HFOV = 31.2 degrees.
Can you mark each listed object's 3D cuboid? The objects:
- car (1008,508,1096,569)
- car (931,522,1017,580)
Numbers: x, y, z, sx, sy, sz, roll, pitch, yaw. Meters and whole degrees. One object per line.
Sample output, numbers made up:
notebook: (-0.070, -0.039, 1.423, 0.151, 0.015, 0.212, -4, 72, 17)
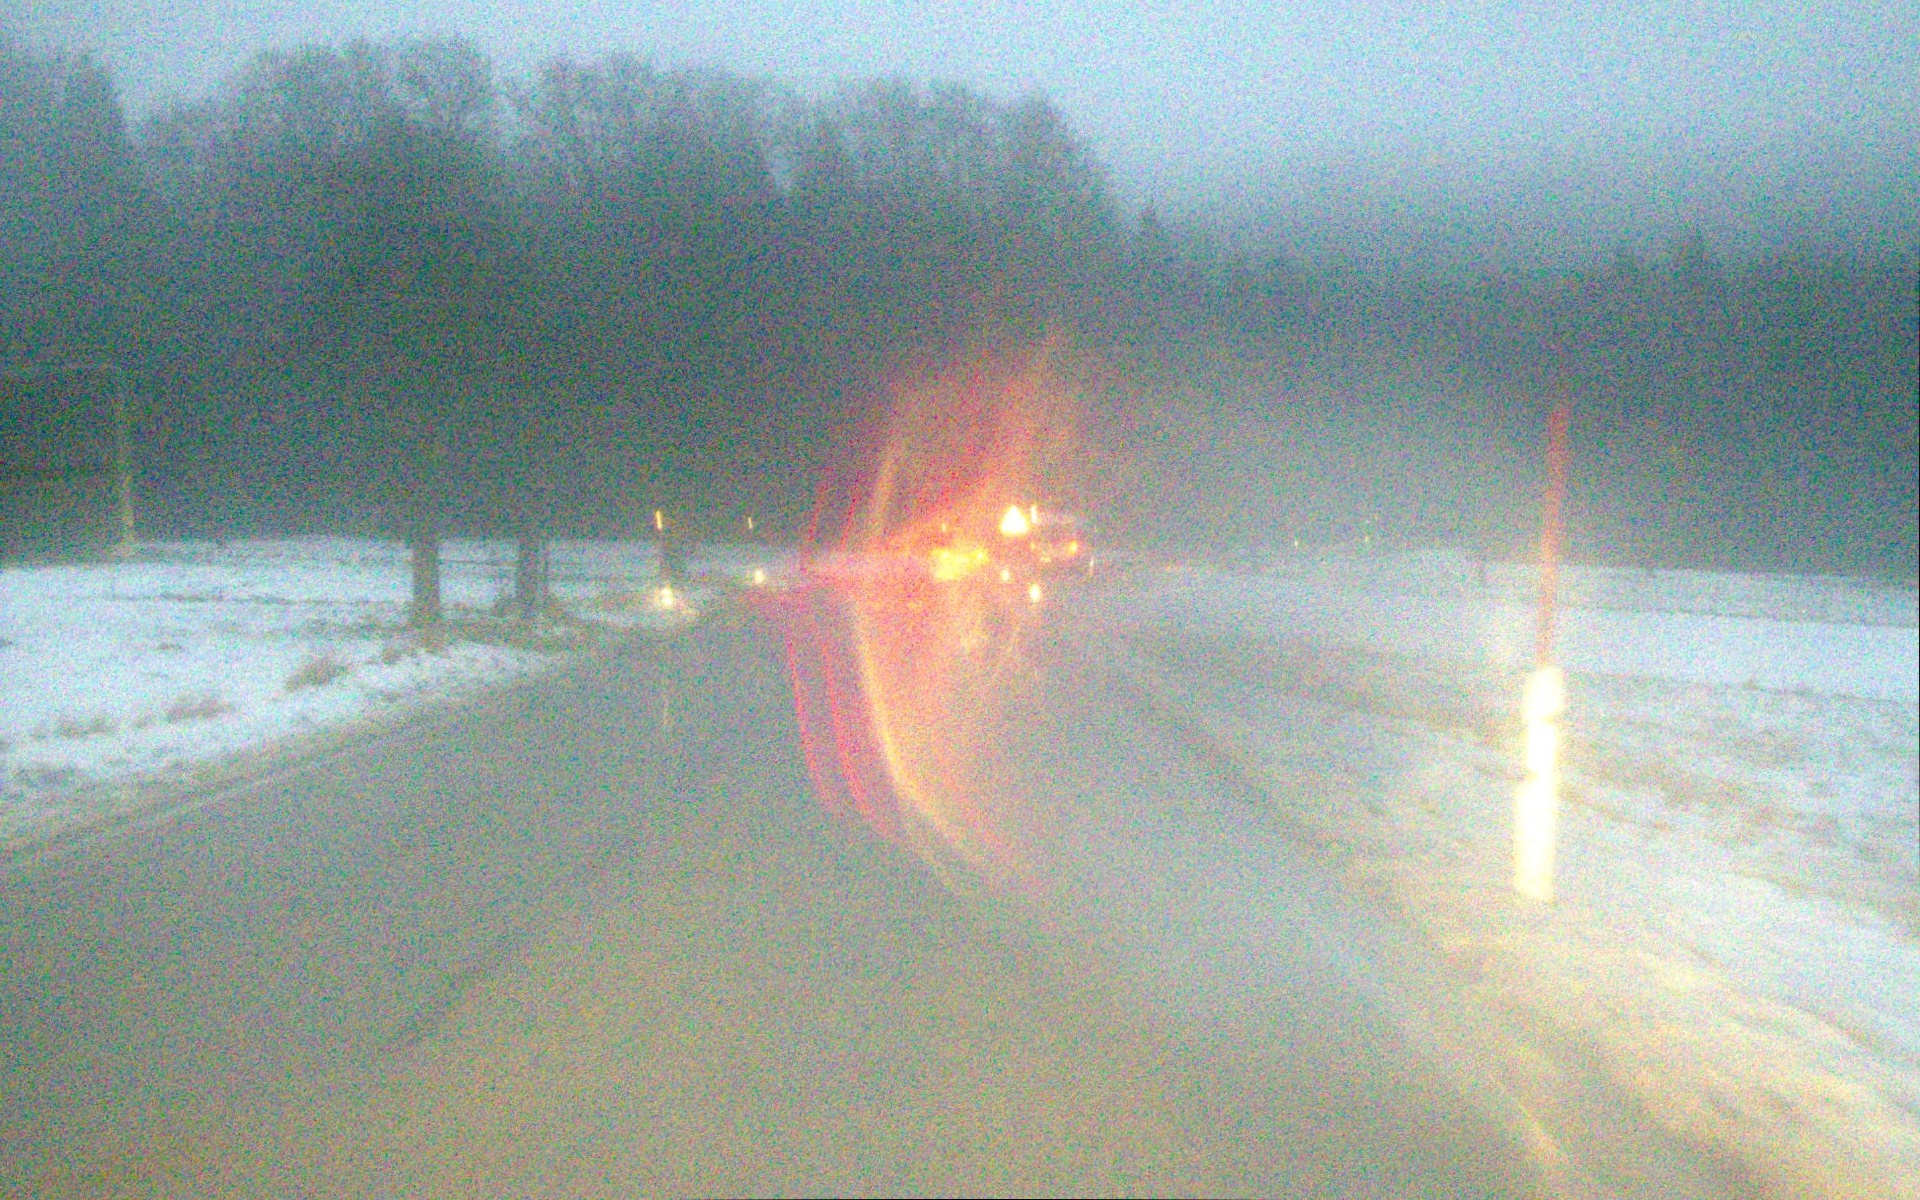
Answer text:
car: (4.127, -2.760, 153.471, 2.255, 2.636, 5.000, 1, 2, 22)
car: (0.537, -1.806, 127.764, 1.995, 2.045, 3.996, 2, 1, 18)
